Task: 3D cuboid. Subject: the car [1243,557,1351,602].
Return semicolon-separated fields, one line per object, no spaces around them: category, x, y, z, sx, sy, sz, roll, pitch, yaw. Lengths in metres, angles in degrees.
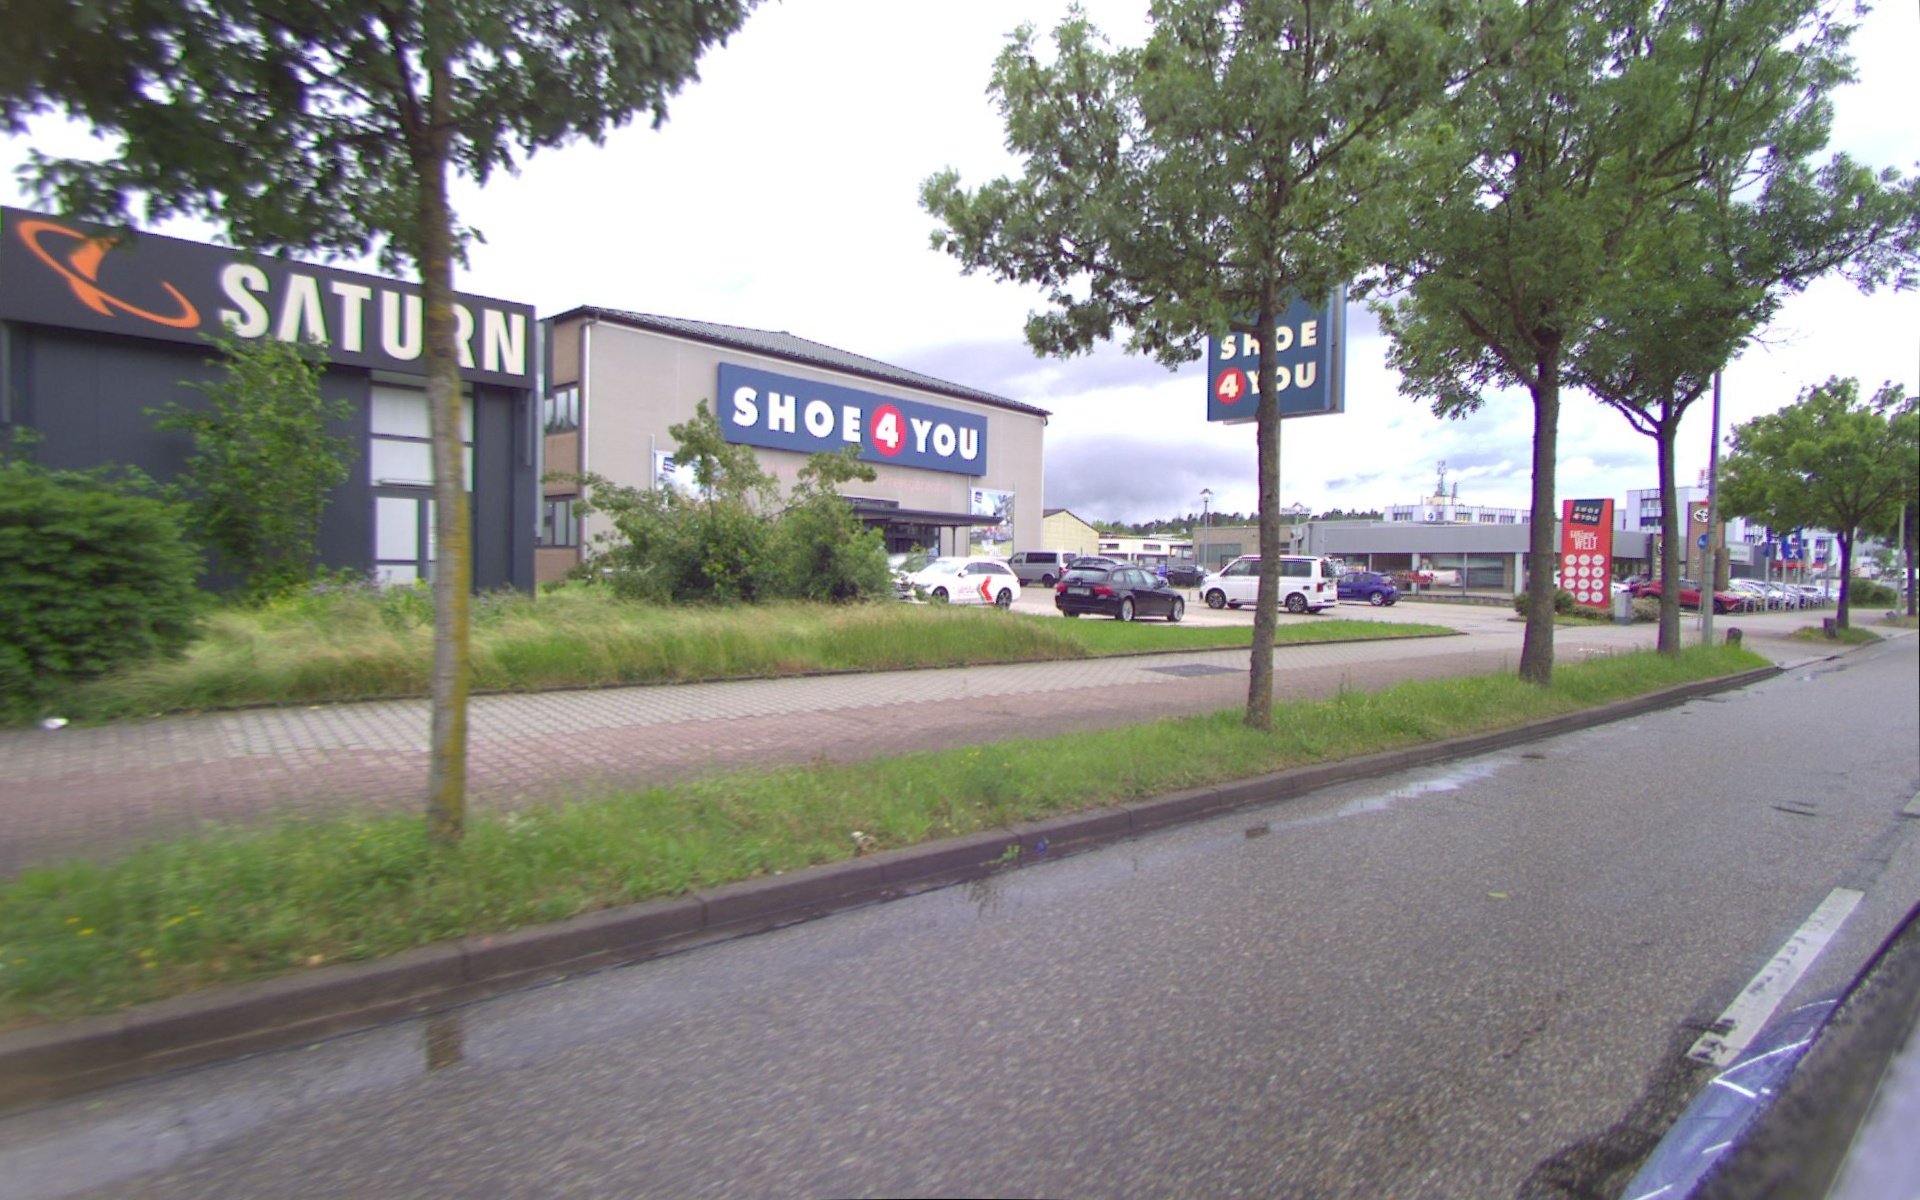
car;14.280;-0.849;42.944;3.982;1.820;1.797;0;1;41

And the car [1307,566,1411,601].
car;17.748;-0.759;45.069;3.980;1.415;1.653;3;3;38

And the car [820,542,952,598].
car;-2.169;-0.881;30.378;1.992;1.571;3.605;0;1;41

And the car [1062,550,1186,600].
car;6.447;-1.013;40.084;4.434;1.784;1.972;4;3;40

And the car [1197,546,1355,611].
car;11.163;-0.816;35.908;4.939;2.038;1.973;4;3;38

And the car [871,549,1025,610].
car;-0.248;-0.551;28.275;1.896;1.567;4.462;0;1;40

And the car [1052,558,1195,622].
car;4.225;-0.293;25.704;1.747;1.430;4.078;4;3;39
